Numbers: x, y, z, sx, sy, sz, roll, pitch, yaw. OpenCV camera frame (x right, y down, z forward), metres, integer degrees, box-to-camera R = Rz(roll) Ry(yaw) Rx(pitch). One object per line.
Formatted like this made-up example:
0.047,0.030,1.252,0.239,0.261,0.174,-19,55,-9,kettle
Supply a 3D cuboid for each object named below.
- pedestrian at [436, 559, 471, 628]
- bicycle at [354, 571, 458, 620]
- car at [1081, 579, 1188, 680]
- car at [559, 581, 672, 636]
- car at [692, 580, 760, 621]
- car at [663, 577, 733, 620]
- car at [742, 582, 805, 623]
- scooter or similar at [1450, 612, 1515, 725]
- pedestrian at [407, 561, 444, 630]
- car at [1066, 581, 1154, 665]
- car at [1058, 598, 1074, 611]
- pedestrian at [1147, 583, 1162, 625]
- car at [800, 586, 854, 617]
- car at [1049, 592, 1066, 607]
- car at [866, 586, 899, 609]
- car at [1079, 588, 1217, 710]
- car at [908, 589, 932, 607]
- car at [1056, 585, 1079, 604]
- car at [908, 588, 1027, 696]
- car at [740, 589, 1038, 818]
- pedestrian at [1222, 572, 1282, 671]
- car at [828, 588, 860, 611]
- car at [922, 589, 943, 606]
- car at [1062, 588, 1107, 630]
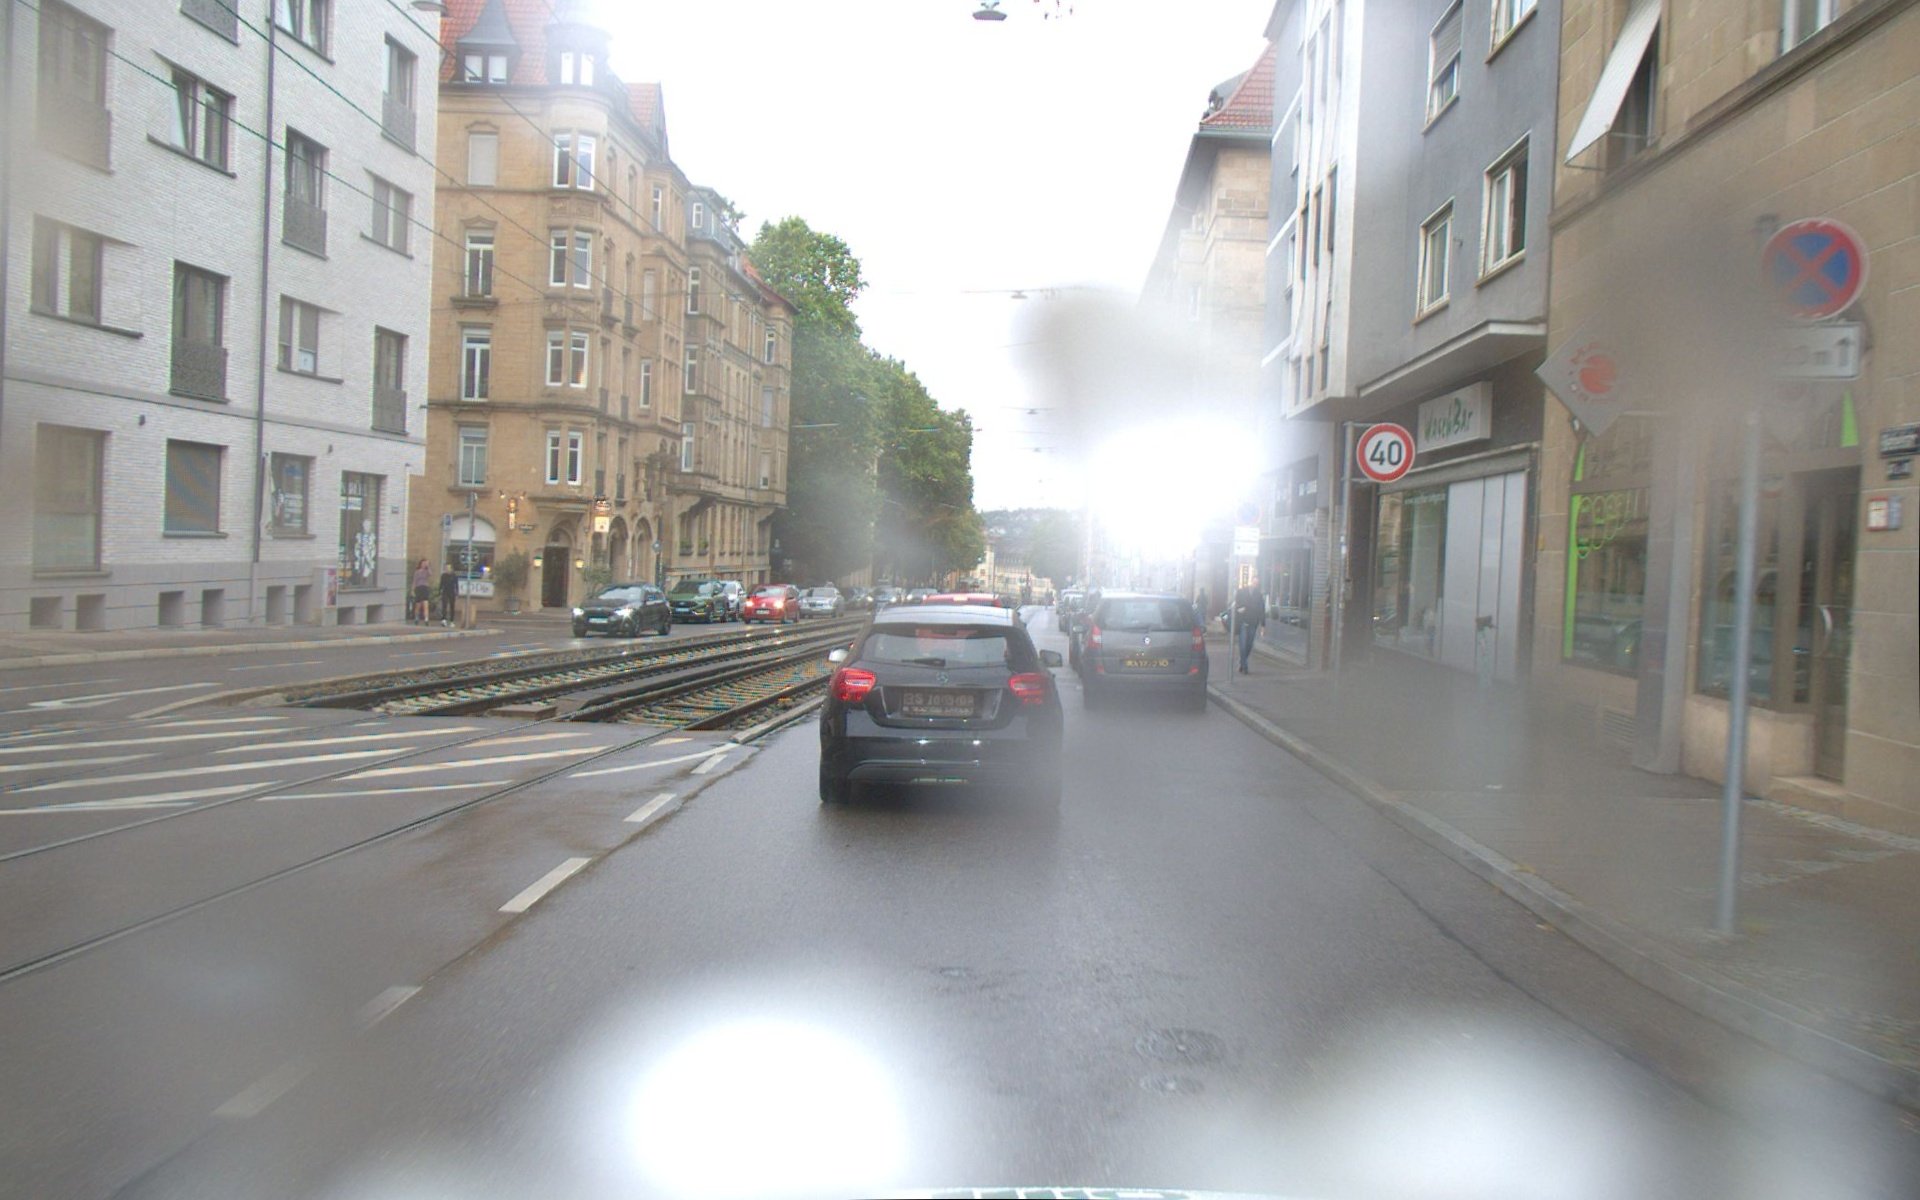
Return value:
-13.562,-0.159,44.293,0.616,1.818,0.882,0,-1,3,pedestrian
-18.920,-0.170,56.599,3.087,1.612,1.595,1,0,-8,bicycle
3.128,0.489,30.288,1.648,1.699,4.124,1,0,2,car
-9.289,0.215,44.930,1.907,1.421,4.276,0,0,4,car
-9.662,0.017,68.598,1.768,1.625,4.528,1,0,5,car
-9.929,-0.059,62.905,1.686,1.568,3.936,1,0,5,car
-7.196,0.086,64.230,1.645,1.523,3.521,1,0,7,car
6.006,0.769,19.047,0.387,1.237,1.107,1,0,1,scooter or similar
-14.222,-0.114,44.028,0.627,1.818,0.924,0,-1,3,pedestrian
3.210,0.455,36.068,1.713,1.699,4.705,1,0,3,car
11.275,0.462,175.823,1.580,1.340,4.002,3,0,3,car
7.020,0.149,59.731,0.445,1.492,0.611,2,0,3,pedestrian
-6.201,0.039,77.529,1.768,1.384,4.766,1,0,5,car
9.011,-0.024,152.938,1.580,1.340,4.002,1,0,3,car
-4.902,-0.155,104.918,1.659,1.413,3.483,1,0,5,car
2.672,0.639,24.336,1.728,1.586,4.747,1,0,3,car
-3.244,-0.187,133.132,1.536,1.438,3.483,1,0,5,car
7.721,-0.393,118.811,1.580,1.340,4.002,1,0,3,car
0.182,0.581,25.620,1.615,1.477,4.002,2,1,3,car
-0.394,0.682,13.144,1.827,1.477,4.003,2,1,5,car
5.465,0.391,31.028,0.925,1.800,1.015,1,0,1,pedestrian
-7.549,-0.039,108.079,1.536,1.438,3.483,1,0,5,car
-2.499,-0.242,150.313,1.536,1.438,3.483,1,0,5,car
4.679,0.331,62.512,1.588,1.510,4.002,1,0,3,car
